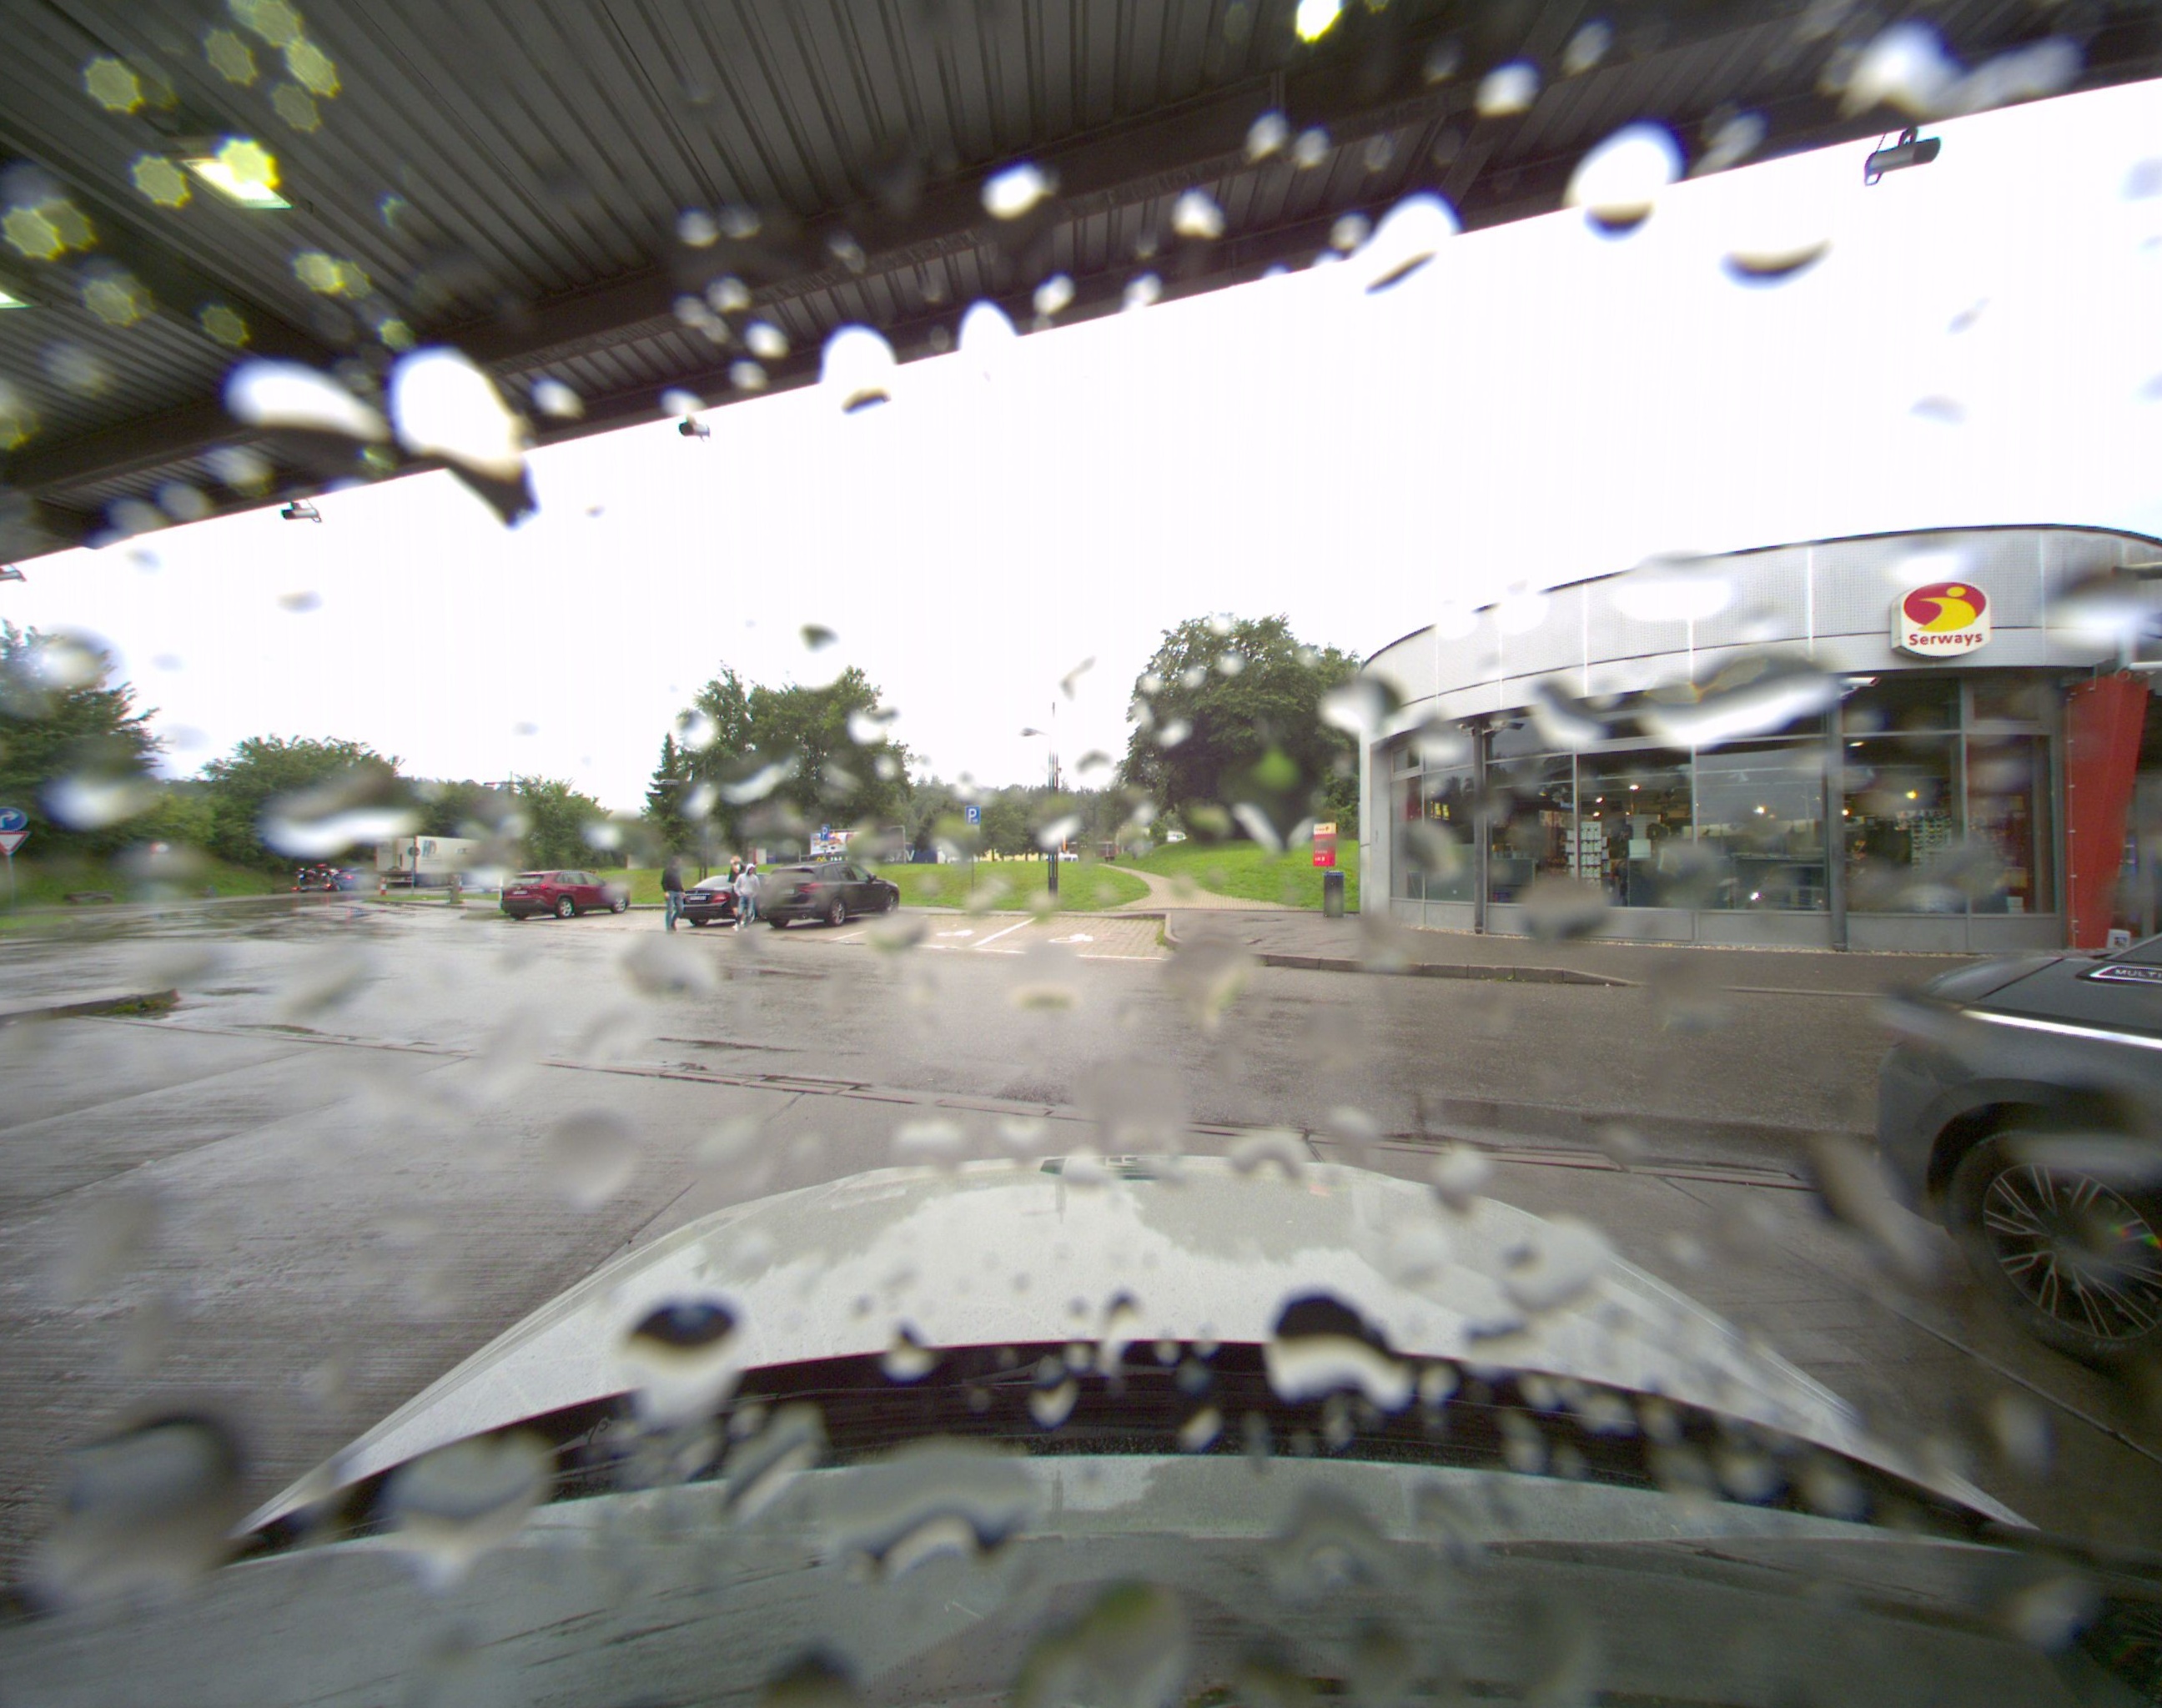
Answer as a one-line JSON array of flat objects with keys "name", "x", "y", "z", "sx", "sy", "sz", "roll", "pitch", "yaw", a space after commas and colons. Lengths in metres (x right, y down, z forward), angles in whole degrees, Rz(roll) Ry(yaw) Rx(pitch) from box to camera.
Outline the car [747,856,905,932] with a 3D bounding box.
[{"name": "car", "x": -6.643, "y": 0.972, "z": 21.802, "sx": 2.002, "sy": 1.711, "sz": 4.360, "roll": -2, "pitch": 0, "yaw": 14}]

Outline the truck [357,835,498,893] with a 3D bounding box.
[{"name": "truck", "x": -55.432, "y": 0.845, "z": 70.005, "sx": 3.550, "sy": 4.340, "sz": 16.899, "roll": 0, "pitch": -1, "yaw": -18}]

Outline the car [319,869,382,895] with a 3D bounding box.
[{"name": "car", "x": -50.333, "y": 1.885, "z": 56.201, "sx": 1.814, "sy": 1.681, "sz": 3.927, "roll": 0, "pitch": -1, "yaw": -18}]

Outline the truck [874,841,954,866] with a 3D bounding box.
[{"name": "truck", "x": -20.736, "y": -0.057, "z": 102.371, "sx": 2.165, "sy": 2.920, "sz": 13.175, "roll": -1, "pitch": -1, "yaw": 26}]

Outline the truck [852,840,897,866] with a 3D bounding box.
[{"name": "truck", "x": -24.169, "y": -0.088, "z": 95.480, "sx": 2.165, "sy": 2.920, "sz": 5.419, "roll": -1, "pitch": -1, "yaw": 27}]

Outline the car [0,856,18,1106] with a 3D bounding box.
[{"name": "car", "x": -7.964, "y": 0.805, "z": 2.698, "sx": 1.854, "sy": 1.608, "sz": 5.273, "roll": 0, "pitch": 0, "yaw": 2}]

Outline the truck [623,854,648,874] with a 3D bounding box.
[{"name": "truck", "x": -70.857, "y": 1.598, "z": 129.628, "sx": 2.485, "sy": 3.085, "sz": 7.307, "roll": 0, "pitch": -1, "yaw": -20}]

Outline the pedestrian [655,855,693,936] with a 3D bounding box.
[{"name": "pedestrian", "x": -9.831, "y": 0.981, "z": 19.668, "sx": 0.707, "sy": 1.887, "sz": 0.884, "roll": 0, "pitch": -1, "yaw": -34}]

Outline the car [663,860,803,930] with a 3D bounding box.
[{"name": "car", "x": -9.828, "y": 1.083, "z": 23.447, "sx": 2.010, "sy": 1.711, "sz": 4.344, "roll": -2, "pitch": 0, "yaw": 1}]

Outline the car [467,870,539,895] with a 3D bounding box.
[{"name": "car", "x": -40.334, "y": 1.959, "z": 56.960, "sx": 1.985, "sy": 1.678, "sz": 4.003, "roll": -1, "pitch": -1, "yaw": 3}]

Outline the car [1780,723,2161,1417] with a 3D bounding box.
[{"name": "car", "x": 3.678, "y": 0.544, "z": 0.698, "sx": 1.854, "sy": 1.798, "sz": 5.142, "roll": 0, "pitch": -1, "yaw": 2}]

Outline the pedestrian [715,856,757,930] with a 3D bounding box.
[{"name": "pedestrian", "x": -9.021, "y": 0.989, "z": 21.316, "sx": 0.956, "sy": 1.887, "sz": 0.697, "roll": 0, "pitch": -1, "yaw": -28}]

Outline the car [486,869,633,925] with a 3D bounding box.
[{"name": "car", "x": -18.130, "y": 1.444, "z": 28.616, "sx": 1.928, "sy": 1.644, "sz": 4.352, "roll": -2, "pitch": 0, "yaw": 7}]

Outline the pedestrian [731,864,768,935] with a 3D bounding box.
[{"name": "pedestrian", "x": -7.973, "y": 1.067, "z": 19.554, "sx": 0.706, "sy": 1.631, "sz": 0.945, "roll": 0, "pitch": -1, "yaw": -30}]

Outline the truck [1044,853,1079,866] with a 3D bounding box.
[{"name": "truck", "x": -3.227, "y": 0.870, "z": 134.127, "sx": 5.356, "sy": 2.014, "sz": 2.381, "roll": -1, "pitch": -1, "yaw": 26}]
